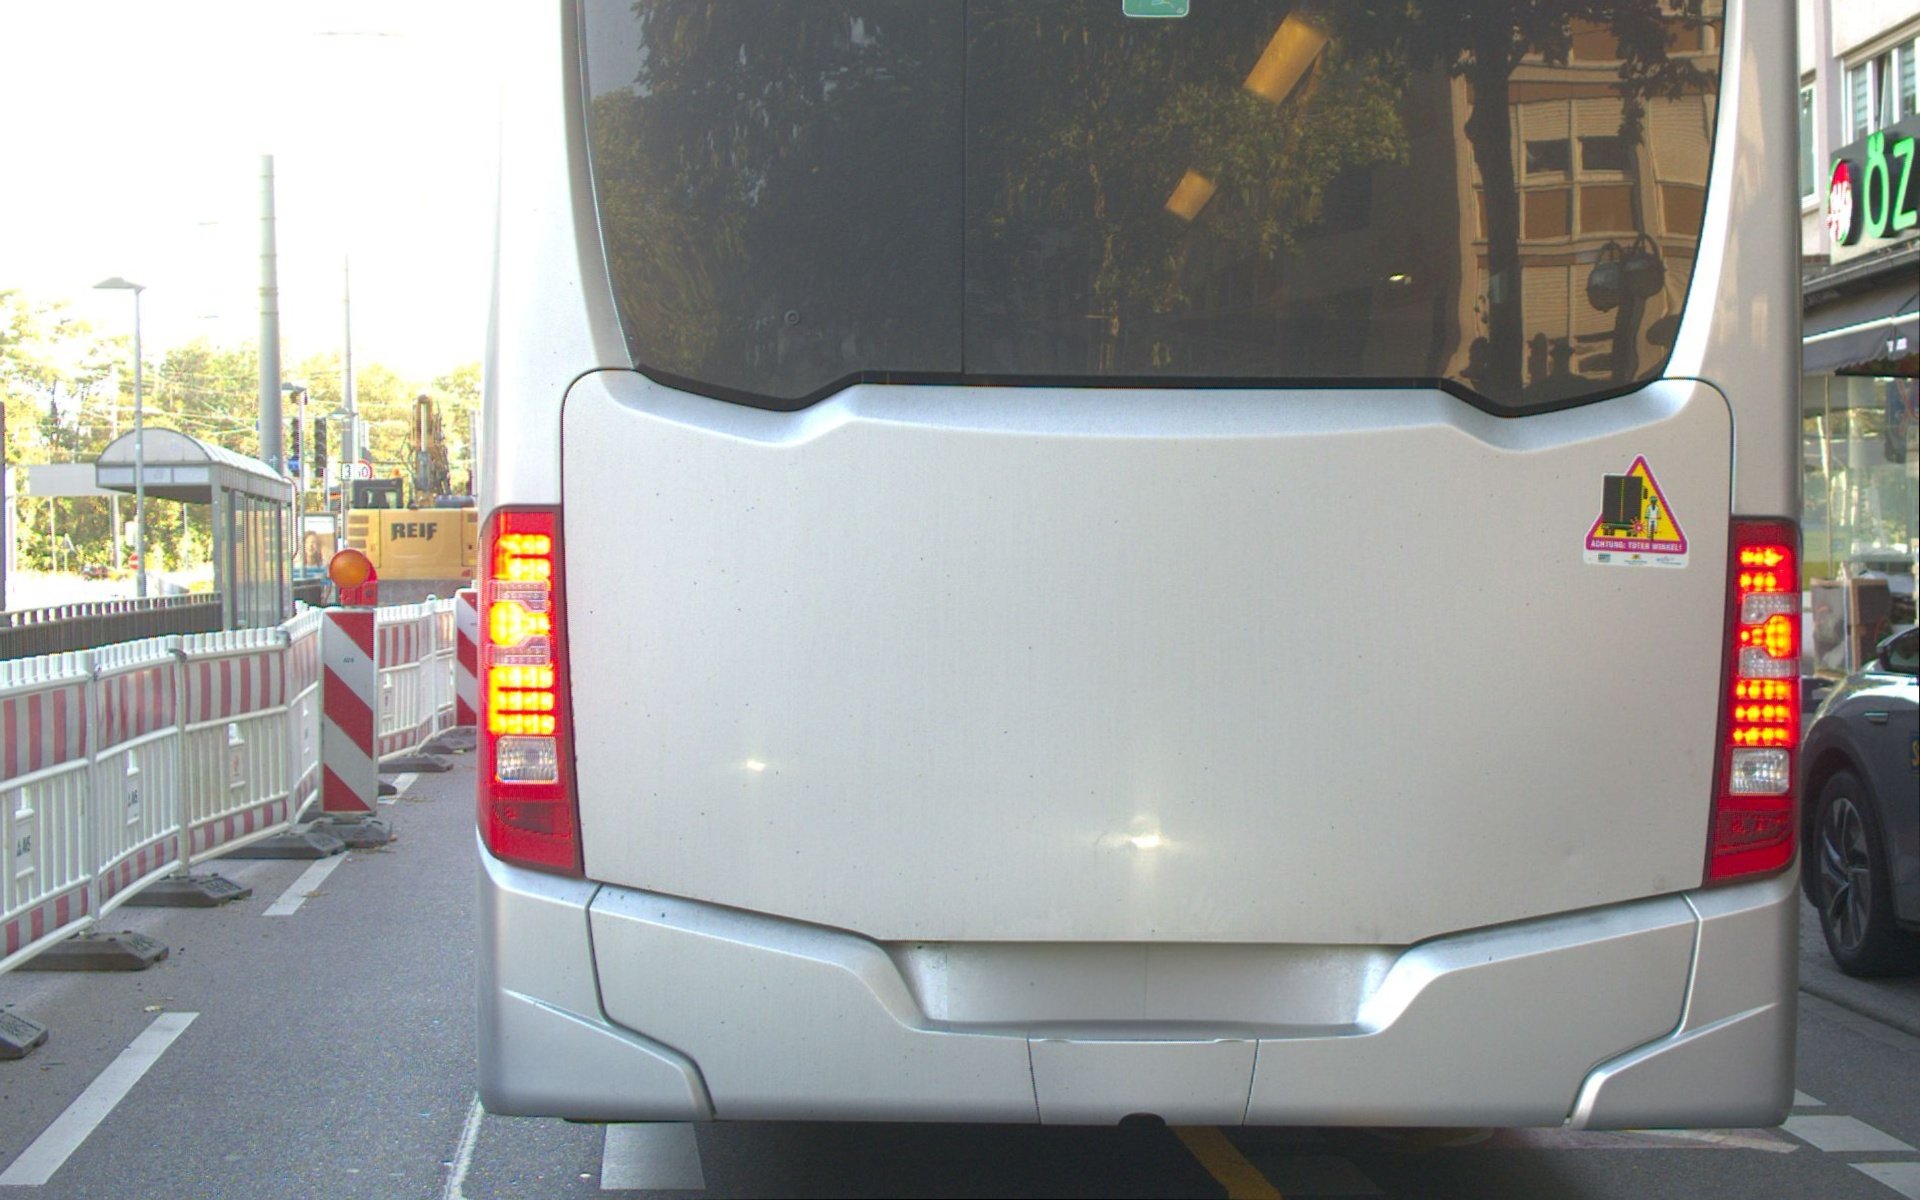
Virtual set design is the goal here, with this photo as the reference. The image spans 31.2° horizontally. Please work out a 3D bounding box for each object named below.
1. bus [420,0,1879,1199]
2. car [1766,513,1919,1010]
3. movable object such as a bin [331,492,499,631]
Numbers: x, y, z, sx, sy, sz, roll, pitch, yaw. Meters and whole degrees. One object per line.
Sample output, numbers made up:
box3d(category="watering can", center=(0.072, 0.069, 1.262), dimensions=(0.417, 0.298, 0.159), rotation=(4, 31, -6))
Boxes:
box3d(category="bus", center=(0.198, -0.283, 11.288), dimensions=(2.608, 3.159, 10.292), rotation=(0, 1, -2))
box3d(category="car", center=(4.001, 0.493, 10.315), dimensions=(1.739, 1.592, 4.300), rotation=(-3, 1, -5))
box3d(category="movable object such as a bin", center=(-10.043, -0.723, 63.682), dimensions=(2.806, 2.453, 4.001), rotation=(-1, 1, -5))
